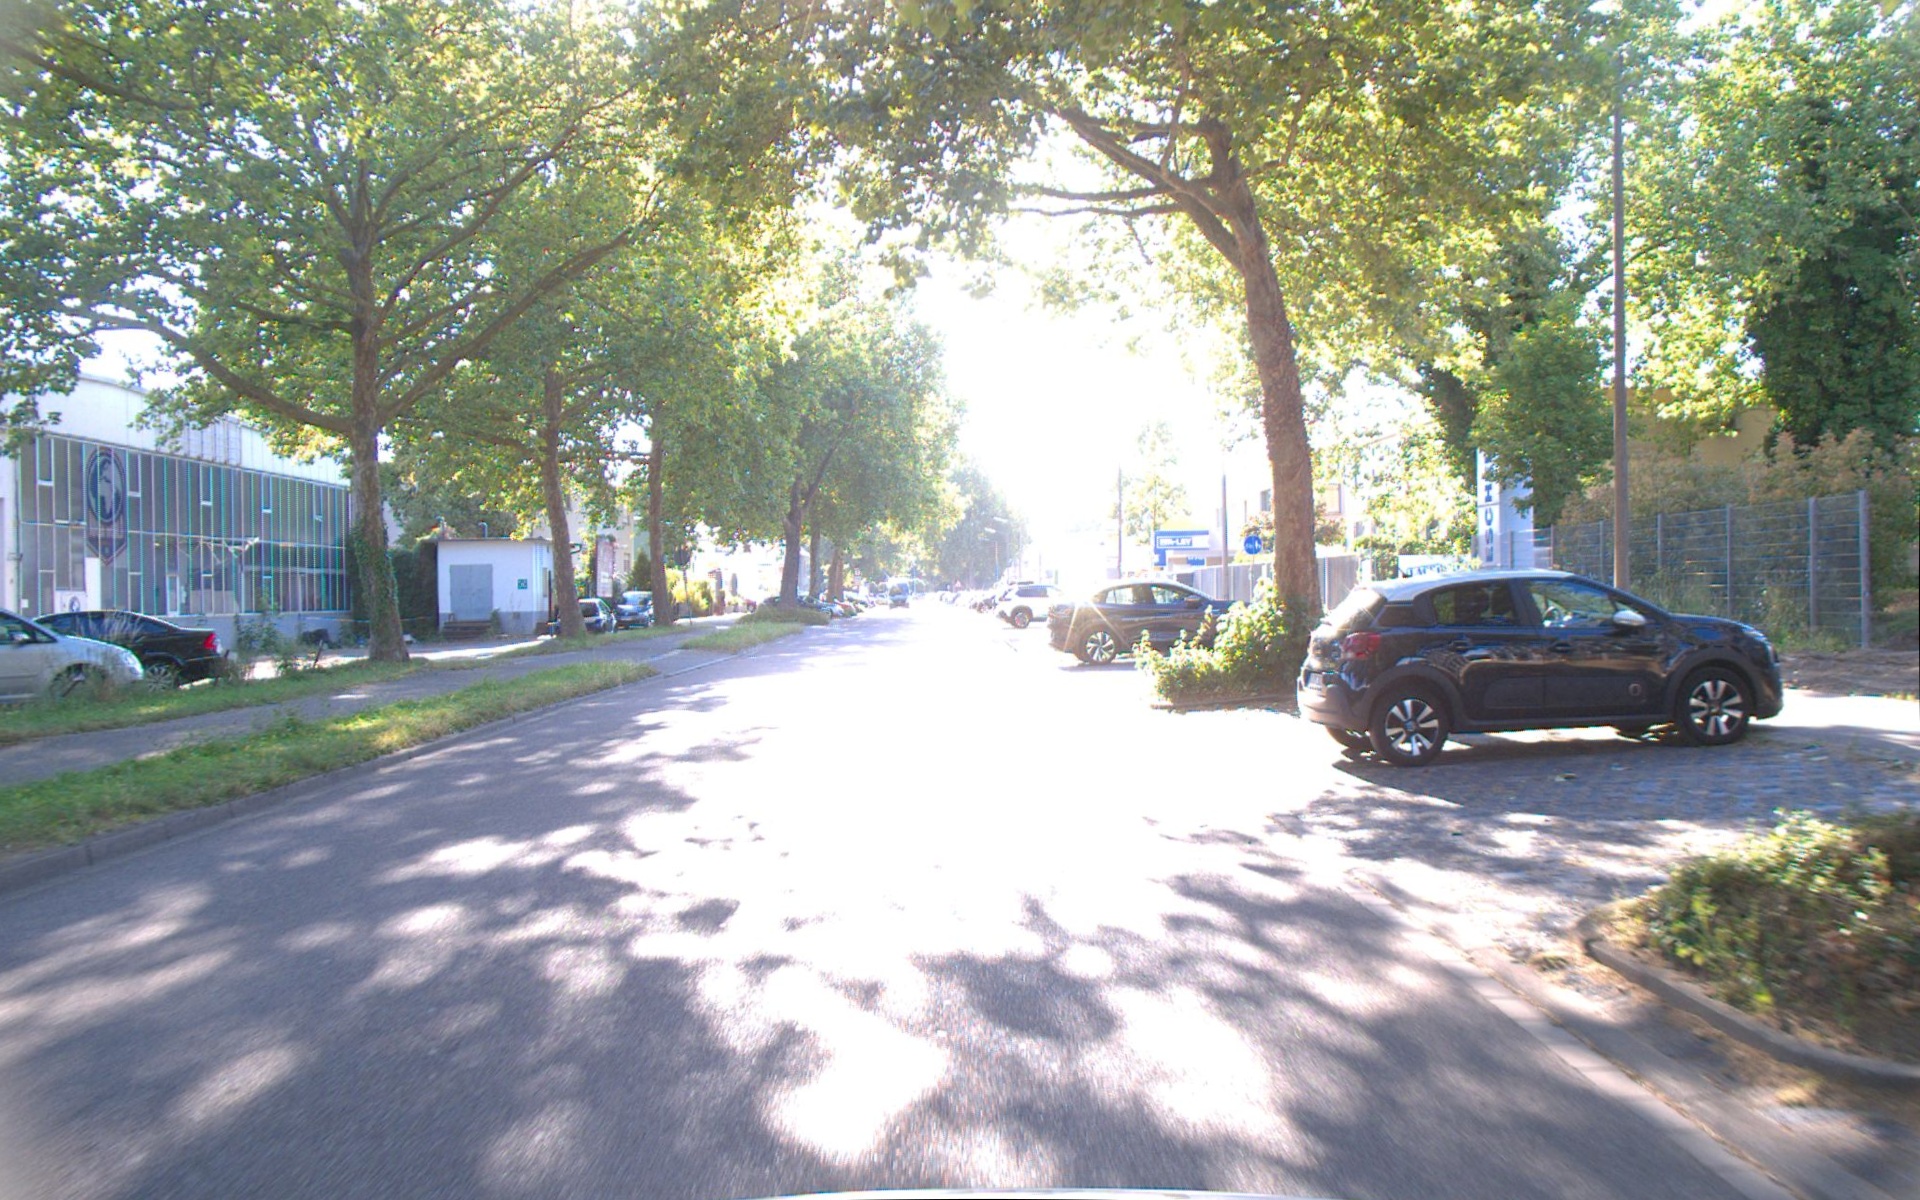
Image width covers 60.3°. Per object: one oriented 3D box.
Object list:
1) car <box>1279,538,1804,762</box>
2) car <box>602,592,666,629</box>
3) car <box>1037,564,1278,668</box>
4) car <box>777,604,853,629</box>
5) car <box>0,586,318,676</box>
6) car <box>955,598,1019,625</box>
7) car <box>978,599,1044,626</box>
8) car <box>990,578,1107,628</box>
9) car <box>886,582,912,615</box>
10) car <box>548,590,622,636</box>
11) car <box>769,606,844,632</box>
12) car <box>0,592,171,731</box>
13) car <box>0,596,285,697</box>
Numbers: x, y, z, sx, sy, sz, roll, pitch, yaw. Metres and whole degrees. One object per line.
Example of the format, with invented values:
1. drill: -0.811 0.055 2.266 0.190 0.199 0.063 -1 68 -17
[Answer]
1. car: 4.806 0.393 14.042 3.710 1.512 1.860 -4 0 -3
2. car: -14.471 0.463 73.711 1.952 1.603 4.273 1 0 0
3. car: 3.937 0.315 33.459 4.481 1.745 1.941 -4 0 -5
4. car: -8.880 0.994 101.683 4.507 1.447 1.999 -1 1 -2
5. car: -13.263 0.458 27.476 4.447 1.328 1.969 -1 1 -43
6. car: 1.978 0.827 120.620 4.509 1.641 1.999 -4 -1 -2
7. car: 3.561 0.878 116.380 4.507 1.607 2.000 -4 -1 1
8. car: 3.601 0.126 67.987 4.533 1.741 1.999 -4 0 -3
9. car: -5.183 -0.136 141.689 2.084 2.706 7.000 -1 1 -1
10. car: -13.170 0.456 58.297 1.956 1.393 3.916 -5 0 -6
11. car: -8.855 1.078 95.665 4.267 1.447 1.999 0 0 -4
12. car: -12.924 0.778 21.579 4.439 1.761 1.972 1 -1 -39
13. car: -12.604 0.641 24.504 4.447 1.328 1.969 -1 1 -43
